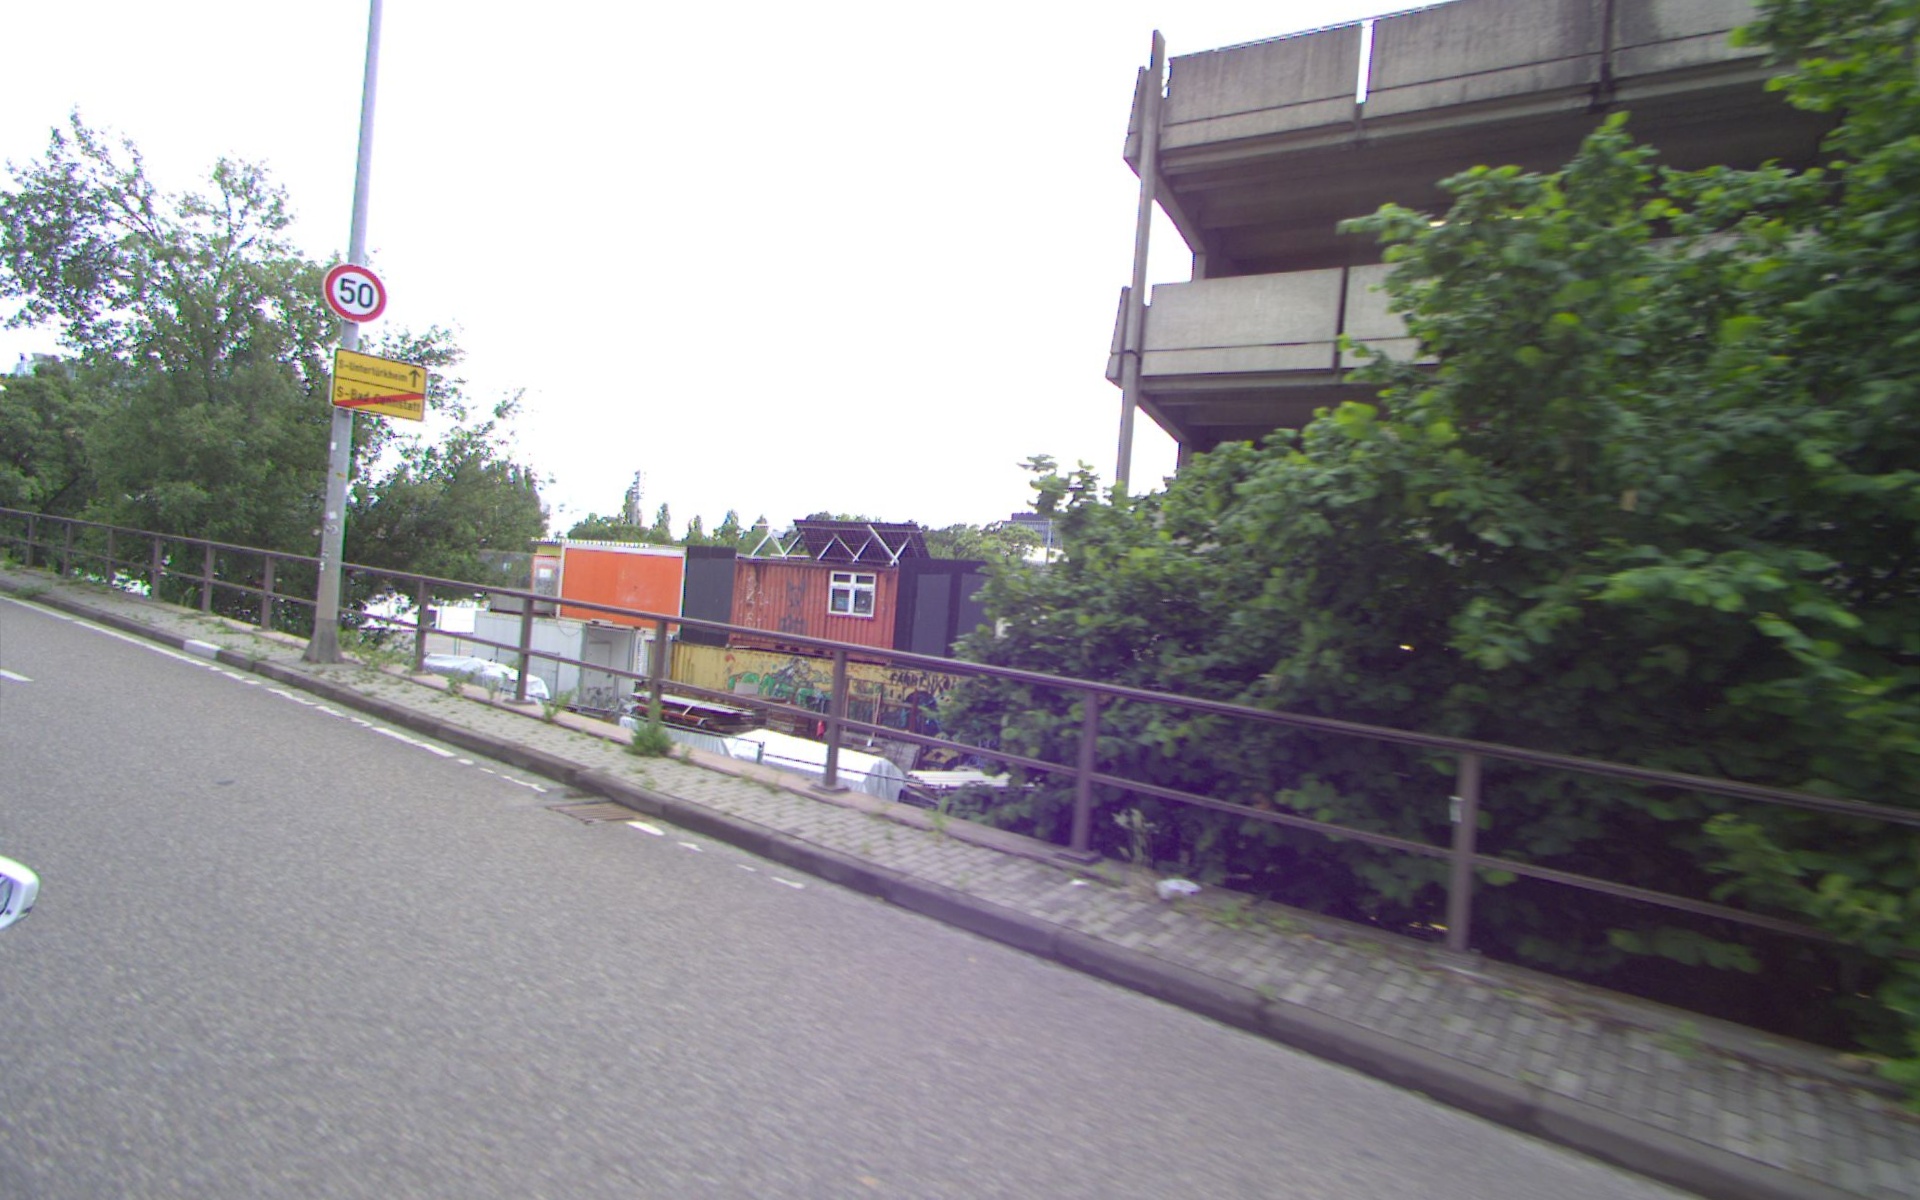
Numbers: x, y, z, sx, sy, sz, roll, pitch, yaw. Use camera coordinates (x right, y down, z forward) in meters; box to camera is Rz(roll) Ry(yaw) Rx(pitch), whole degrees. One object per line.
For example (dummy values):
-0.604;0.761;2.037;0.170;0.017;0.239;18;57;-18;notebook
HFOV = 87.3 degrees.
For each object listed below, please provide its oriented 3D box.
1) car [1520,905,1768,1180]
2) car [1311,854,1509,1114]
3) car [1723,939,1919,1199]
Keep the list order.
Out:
8.310;5.231;12.680;1.966;1.446;4.661;4;-2;28;car
6.276;4.932;13.790;1.966;1.806;4.755;5;-2;28;car
10.489;5.349;11.506;1.966;1.446;4.661;4;-2;28;car
